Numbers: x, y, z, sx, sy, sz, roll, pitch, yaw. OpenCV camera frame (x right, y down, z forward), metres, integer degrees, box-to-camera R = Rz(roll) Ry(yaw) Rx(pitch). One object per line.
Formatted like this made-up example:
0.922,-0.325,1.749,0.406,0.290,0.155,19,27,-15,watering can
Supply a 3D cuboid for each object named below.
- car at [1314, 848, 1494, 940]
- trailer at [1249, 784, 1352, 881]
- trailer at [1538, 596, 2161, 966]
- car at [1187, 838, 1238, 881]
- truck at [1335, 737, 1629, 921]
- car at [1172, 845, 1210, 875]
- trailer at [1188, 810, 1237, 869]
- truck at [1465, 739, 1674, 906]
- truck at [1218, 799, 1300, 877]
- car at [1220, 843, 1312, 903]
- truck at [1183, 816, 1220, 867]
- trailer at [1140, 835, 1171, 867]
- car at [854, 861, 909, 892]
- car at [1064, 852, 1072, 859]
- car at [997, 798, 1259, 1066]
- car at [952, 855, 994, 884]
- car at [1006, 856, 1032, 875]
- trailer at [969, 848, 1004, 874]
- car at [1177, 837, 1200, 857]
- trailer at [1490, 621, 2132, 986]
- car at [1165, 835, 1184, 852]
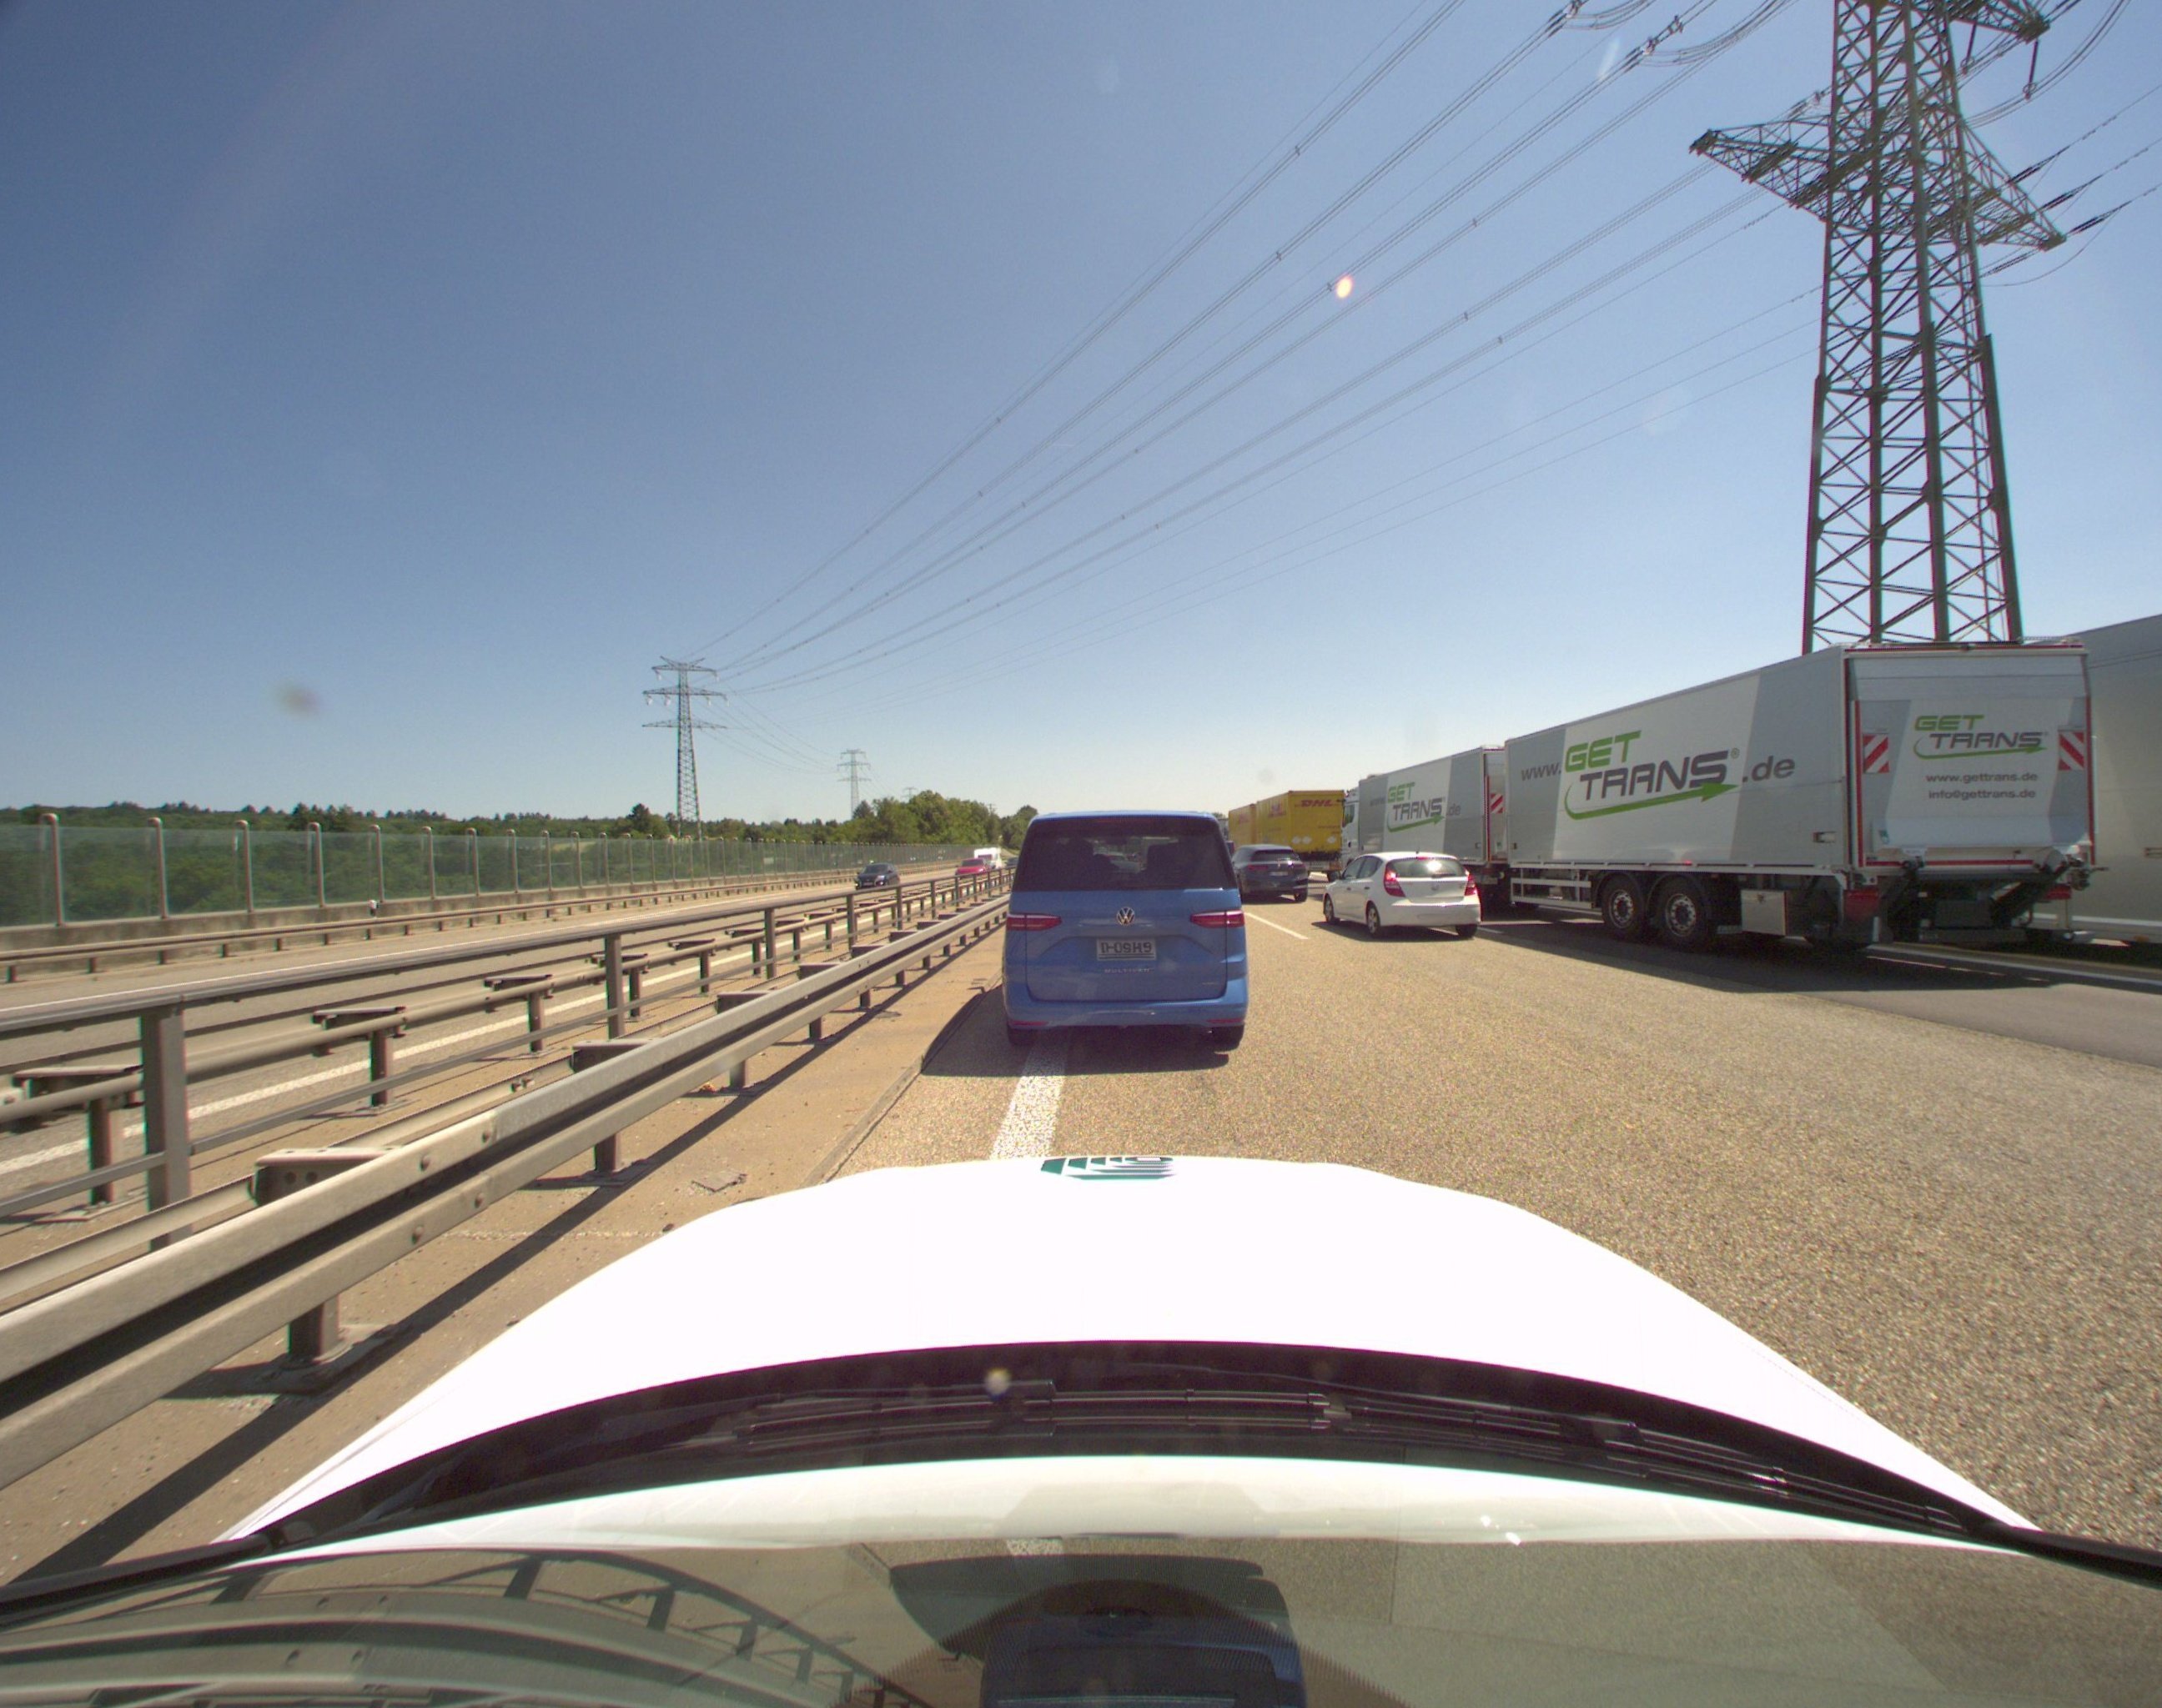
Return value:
5.863,0.647,15.388,1.782,1.455,4.295,-1,0,2,car
10.489,-0.906,40.018,2.854,4.239,9.015,0,0,2,trailer
13.435,-0.813,14.981,2.526,4.119,13.775,0,0,1,trailer
6.492,0.238,40.732,1.955,1.993,4.295,-1,0,2,car
9.800,-0.524,21.916,2.647,3.648,11.013,-1,0,1,truck
6.993,0.394,52.233,1.986,1.816,4.002,-1,0,2,car
10.799,-1.125,67.897,2.627,4.516,11.305,0,0,2,trailer
13.548,-0.781,23.199,2.507,4.119,5.717,-1,0,1,truck
10.664,-0.865,50.032,2.826,4.243,11.013,0,0,1,truck
5.577,0.528,25.051,1.955,1.644,4.295,-1,0,2,car
11.028,-1.109,75.152,2.657,4.484,6.852,0,0,2,truck
7.355,-0.288,81.666,2.559,2.990,10.668,0,0,2,trailer
-10.730,1.178,44.120,1.723,1.491,4.421,-3,0,1,car
-3.654,0.347,232.659,1.861,1.699,4.431,-5,1,1,car
0.394,0.550,7.722,1.813,1.857,4.076,0,0,2,car
-6.479,0.887,49.235,1.784,1.478,3.991,-6,0,2,car
-5.523,0.988,72.714,1.662,1.448,4.003,-4,0,3,car
-9.916,0.709,85.867,2.484,2.549,6.777,-3,0,2,trailer
11.092,-0.700,84.556,1.986,2.014,4.002,0,0,2,car
9.538,-0.530,12.408,2.688,3.700,8.017,-1,0,1,trailer
11.689,-1.342,102.095,1.986,2.013,4.463,-2,0,2,car
